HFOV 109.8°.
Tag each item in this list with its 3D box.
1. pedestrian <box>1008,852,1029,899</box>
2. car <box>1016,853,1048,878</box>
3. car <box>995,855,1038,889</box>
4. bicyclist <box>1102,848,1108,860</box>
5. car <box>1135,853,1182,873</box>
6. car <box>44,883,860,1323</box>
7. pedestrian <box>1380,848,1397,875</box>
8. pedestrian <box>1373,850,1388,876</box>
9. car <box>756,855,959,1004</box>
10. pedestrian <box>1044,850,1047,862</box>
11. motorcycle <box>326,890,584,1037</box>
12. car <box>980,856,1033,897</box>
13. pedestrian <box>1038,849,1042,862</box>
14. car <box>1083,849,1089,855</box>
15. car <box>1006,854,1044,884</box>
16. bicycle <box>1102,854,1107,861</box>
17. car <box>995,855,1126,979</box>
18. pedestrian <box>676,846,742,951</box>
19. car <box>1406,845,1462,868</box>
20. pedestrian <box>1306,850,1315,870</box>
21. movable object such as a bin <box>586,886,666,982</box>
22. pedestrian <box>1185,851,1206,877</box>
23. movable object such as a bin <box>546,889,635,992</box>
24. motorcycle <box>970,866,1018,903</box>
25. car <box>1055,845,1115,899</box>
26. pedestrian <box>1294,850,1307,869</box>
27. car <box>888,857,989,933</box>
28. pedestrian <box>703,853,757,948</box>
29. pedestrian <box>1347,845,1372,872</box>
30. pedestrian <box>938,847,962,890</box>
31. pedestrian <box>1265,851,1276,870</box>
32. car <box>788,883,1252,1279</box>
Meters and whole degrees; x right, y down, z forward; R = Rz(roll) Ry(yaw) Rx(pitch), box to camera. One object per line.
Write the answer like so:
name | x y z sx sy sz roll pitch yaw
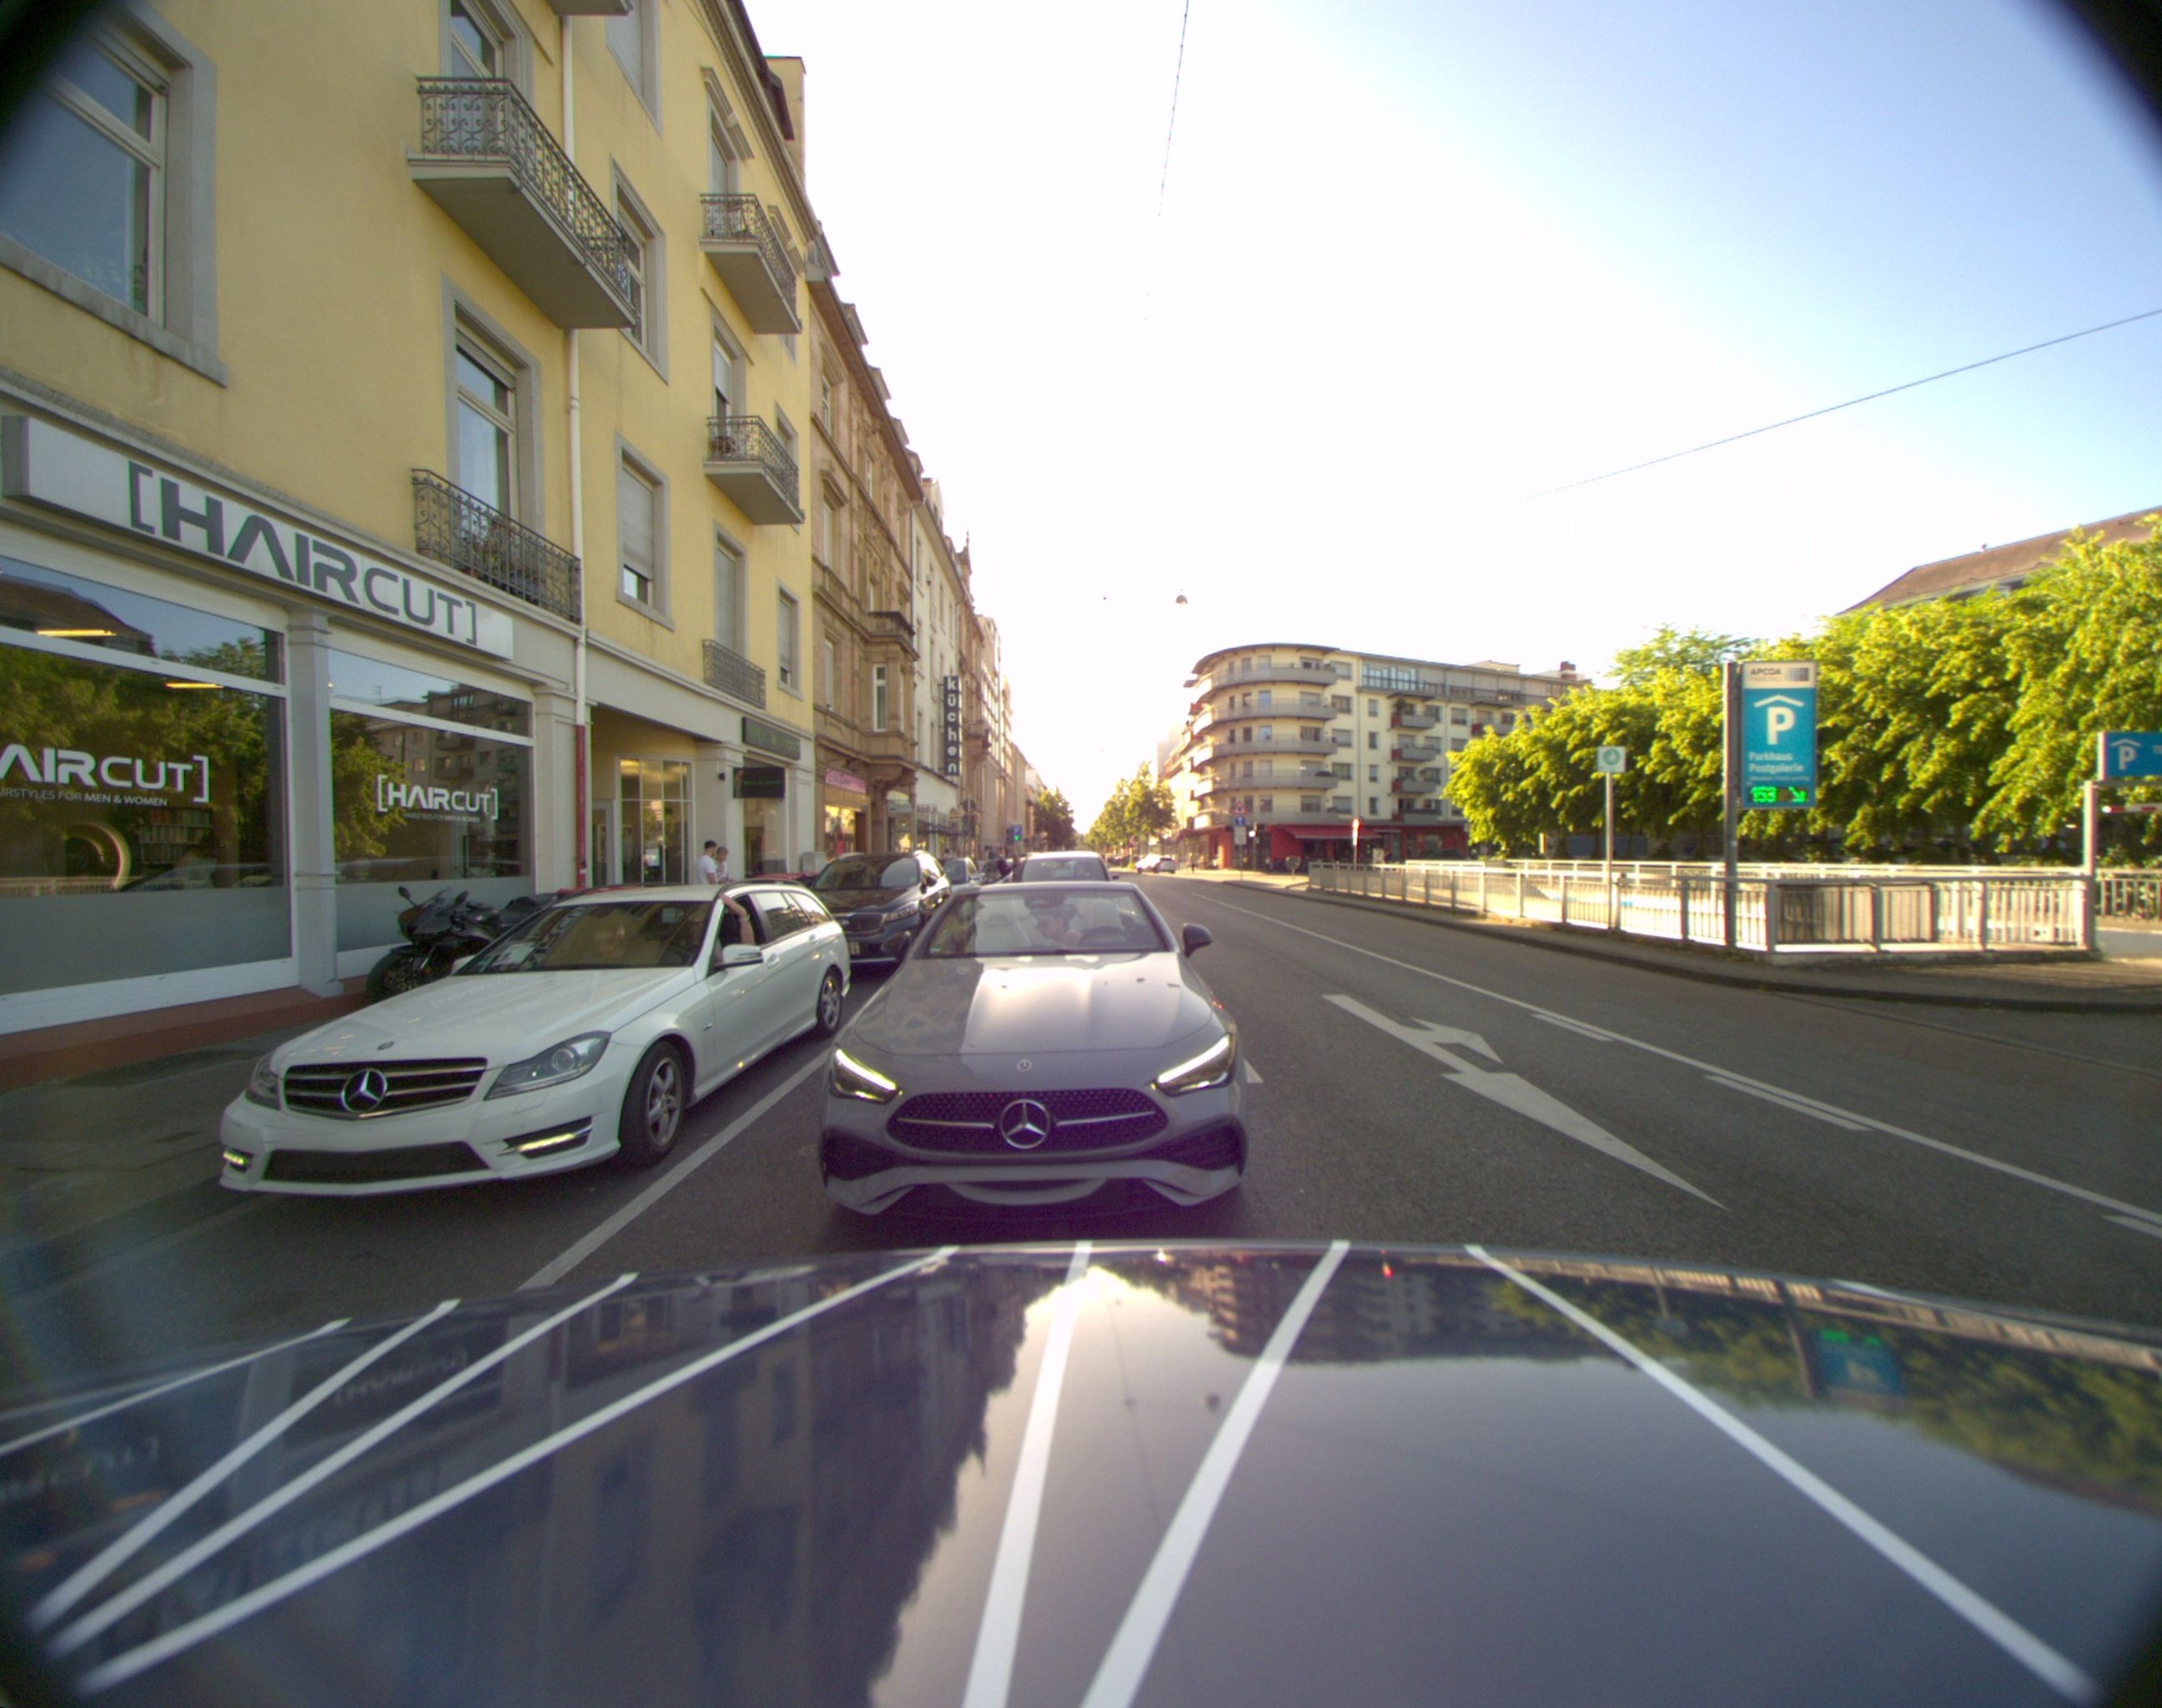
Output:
pedestrian | -2.240 0.767 27.311 0.693 1.657 0.834 -1 1 -2
car | -3.019 0.691 47.592 1.715 1.477 4.062 -1 0 0
car | -3.045 0.813 36.480 1.715 1.477 3.999 -1 0 0
bicyclist | 3.410 0.008 109.619 0.758 1.651 1.143 -2 1 2
car | 6.009 0.686 59.507 1.805 1.426 4.243 -2 0 -23
car | -3.070 1.043 5.214 1.759 1.453 4.597 -1 0 0
pedestrian | 20.617 0.498 50.976 0.755 1.795 0.756 -2 1 -15
pedestrian | 20.023 0.581 50.790 0.674 1.696 0.699 -2 1 -7
car | -3.004 0.891 11.324 1.858 1.688 4.697 -1 0 -4
pedestrian | -5.122 0.306 109.826 0.466 1.769 0.569 -1 1 0
motorcycle | -6.257 1.021 7.825 0.773 1.158 2.247 1 0 1
car | -2.953 0.876 30.728 1.715 1.477 3.999 -1 0 0
pedestrian | -5.879 0.237 109.885 0.527 1.875 0.569 -1 1 0
car | 1.528 -0.721 240.472 1.998 1.805 4.000 -1 0 1
car | -2.977 0.763 40.997 1.715 1.477 3.999 -1 0 0
bicycle | 3.387 0.496 109.635 0.661 1.083 1.971 -1 0 2
car | -0.246 0.849 12.176 1.716 1.599 4.000 -1 0 1
pedestrian | -5.862 0.681 12.000 0.642 1.607 0.701 -1 1 -1
car | 29.039 0.177 62.450 4.004 1.740 1.996 -2 1 -23
pedestrian | 17.955 0.464 59.498 0.581 1.481 0.793 -1 1 13
movable object such as a bin | -6.054 1.052 10.139 0.647 1.200 0.644 -1 1 1
pedestrian | 8.911 0.771 58.997 1.201 2.002 1.018 -3 1 -29
movable object such as a bin | -6.104 1.061 9.487 0.647 1.200 0.644 -1 1 1
motorcycle | -3.052 1.047 26.786 0.769 1.225 1.546 -1 1 42
car | 0.160 0.596 27.328 1.952 1.742 4.000 -1 0 1
pedestrian | 17.695 0.442 61.152 0.583 1.453 0.790 -2 1 -37
car | -3.260 0.892 17.905 1.696 1.559 3.018 -1 0 1
pedestrian | -6.083 0.786 13.201 0.572 1.607 0.643 -1 1 2
pedestrian | 21.677 0.347 59.198 1.234 2.002 1.259 -2 1 -21
pedestrian | -5.052 0.555 29.341 0.795 1.607 0.763 -1 1 -1
pedestrian | 15.058 0.502 60.270 0.791 1.452 0.583 -1 1 10
car | -0.265 1.010 5.232 1.849 1.371 4.255 -2 0 -1
